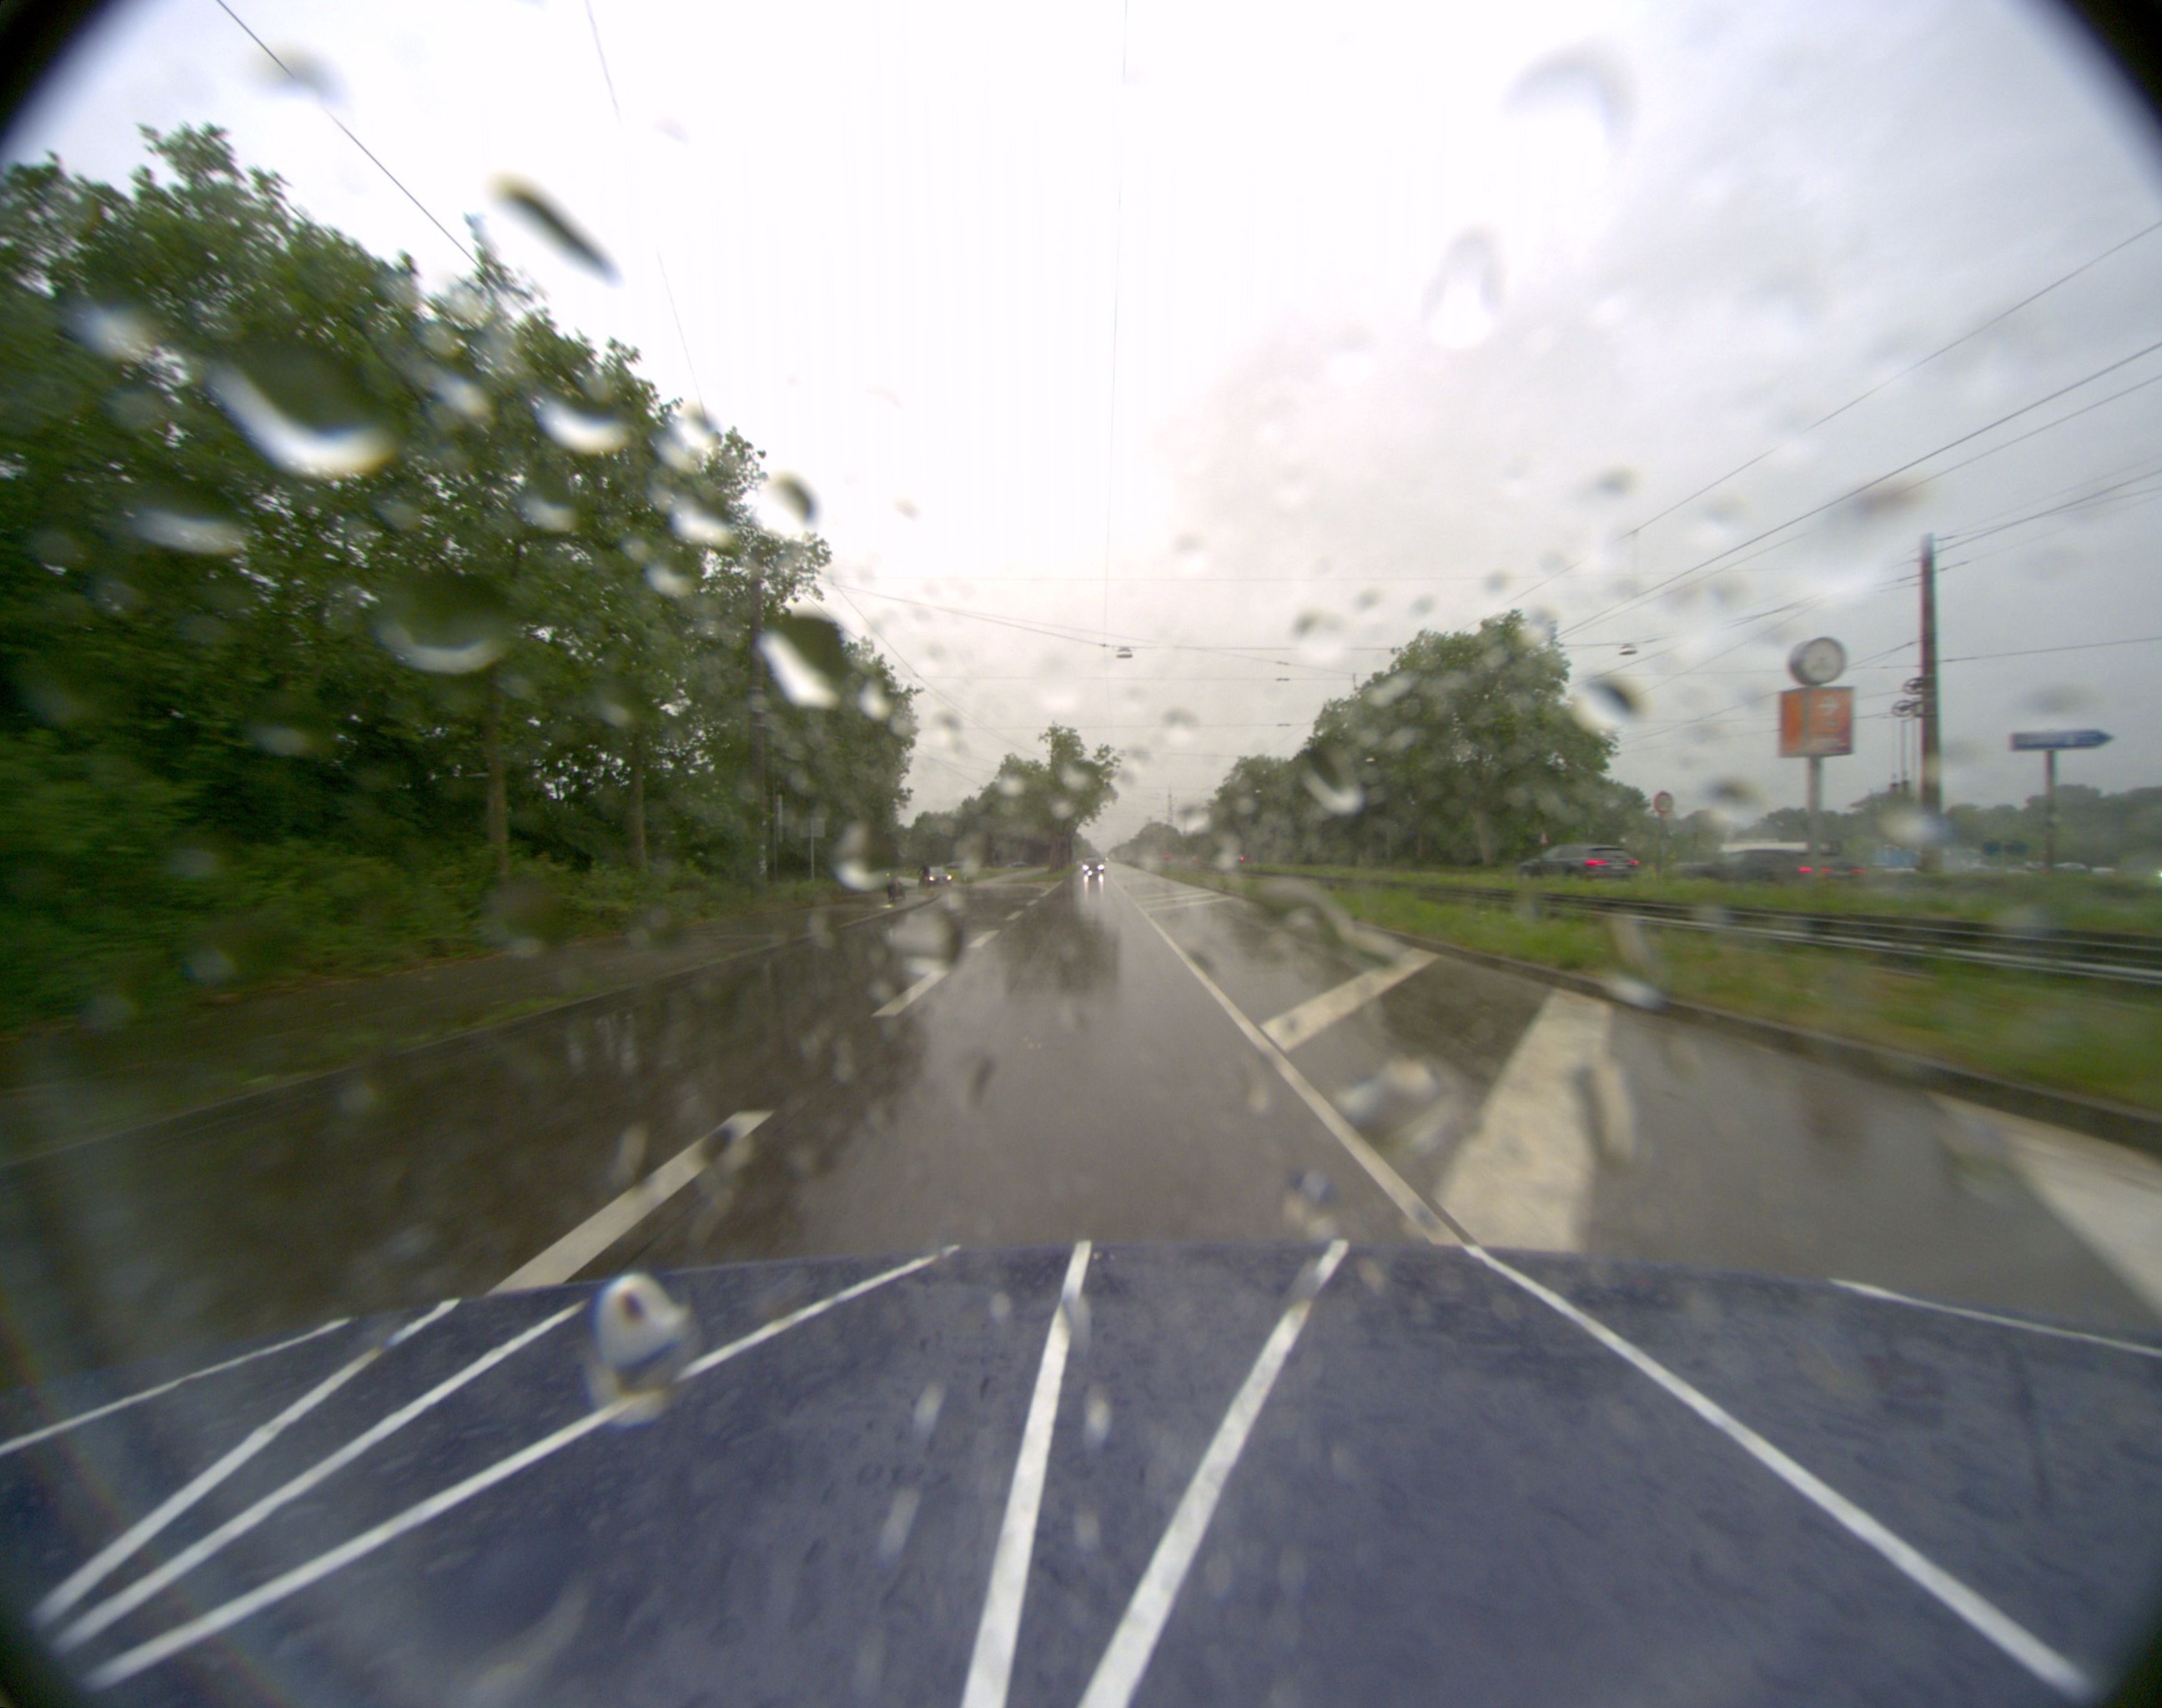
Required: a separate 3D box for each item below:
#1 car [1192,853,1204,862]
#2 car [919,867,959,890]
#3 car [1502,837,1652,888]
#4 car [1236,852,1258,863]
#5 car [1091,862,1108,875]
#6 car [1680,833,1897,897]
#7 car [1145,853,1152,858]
[{"bbox_3d":[22.545,0.612,146.324,1.655,1.559,4.047,-2,0,0],"label":"car"},{"bbox_3d":[-10.566,1.754,56.353,1.871,1.527,4.508,-2,0,-25],"label":"car"},{"bbox_3d":[17.596,0.283,27.330,1.948,1.606,4.987,-1,0,-3],"label":"car"},{"bbox_3d":[24.357,0.468,111.573,2.217,1.519,4.279,-2,0,1],"label":"car"},{"bbox_3d":[2.102,1.630,86.919,1.971,1.412,4.000,0,0,1],"label":"car"},{"bbox_3d":[20.938,0.306,22.836,1.948,1.676,4.779,-1,0,-2],"label":"car"},{"bbox_3d":[20.630,0.518,233.590,1.695,1.514,4.955,-2,0,0],"label":"car"}]
